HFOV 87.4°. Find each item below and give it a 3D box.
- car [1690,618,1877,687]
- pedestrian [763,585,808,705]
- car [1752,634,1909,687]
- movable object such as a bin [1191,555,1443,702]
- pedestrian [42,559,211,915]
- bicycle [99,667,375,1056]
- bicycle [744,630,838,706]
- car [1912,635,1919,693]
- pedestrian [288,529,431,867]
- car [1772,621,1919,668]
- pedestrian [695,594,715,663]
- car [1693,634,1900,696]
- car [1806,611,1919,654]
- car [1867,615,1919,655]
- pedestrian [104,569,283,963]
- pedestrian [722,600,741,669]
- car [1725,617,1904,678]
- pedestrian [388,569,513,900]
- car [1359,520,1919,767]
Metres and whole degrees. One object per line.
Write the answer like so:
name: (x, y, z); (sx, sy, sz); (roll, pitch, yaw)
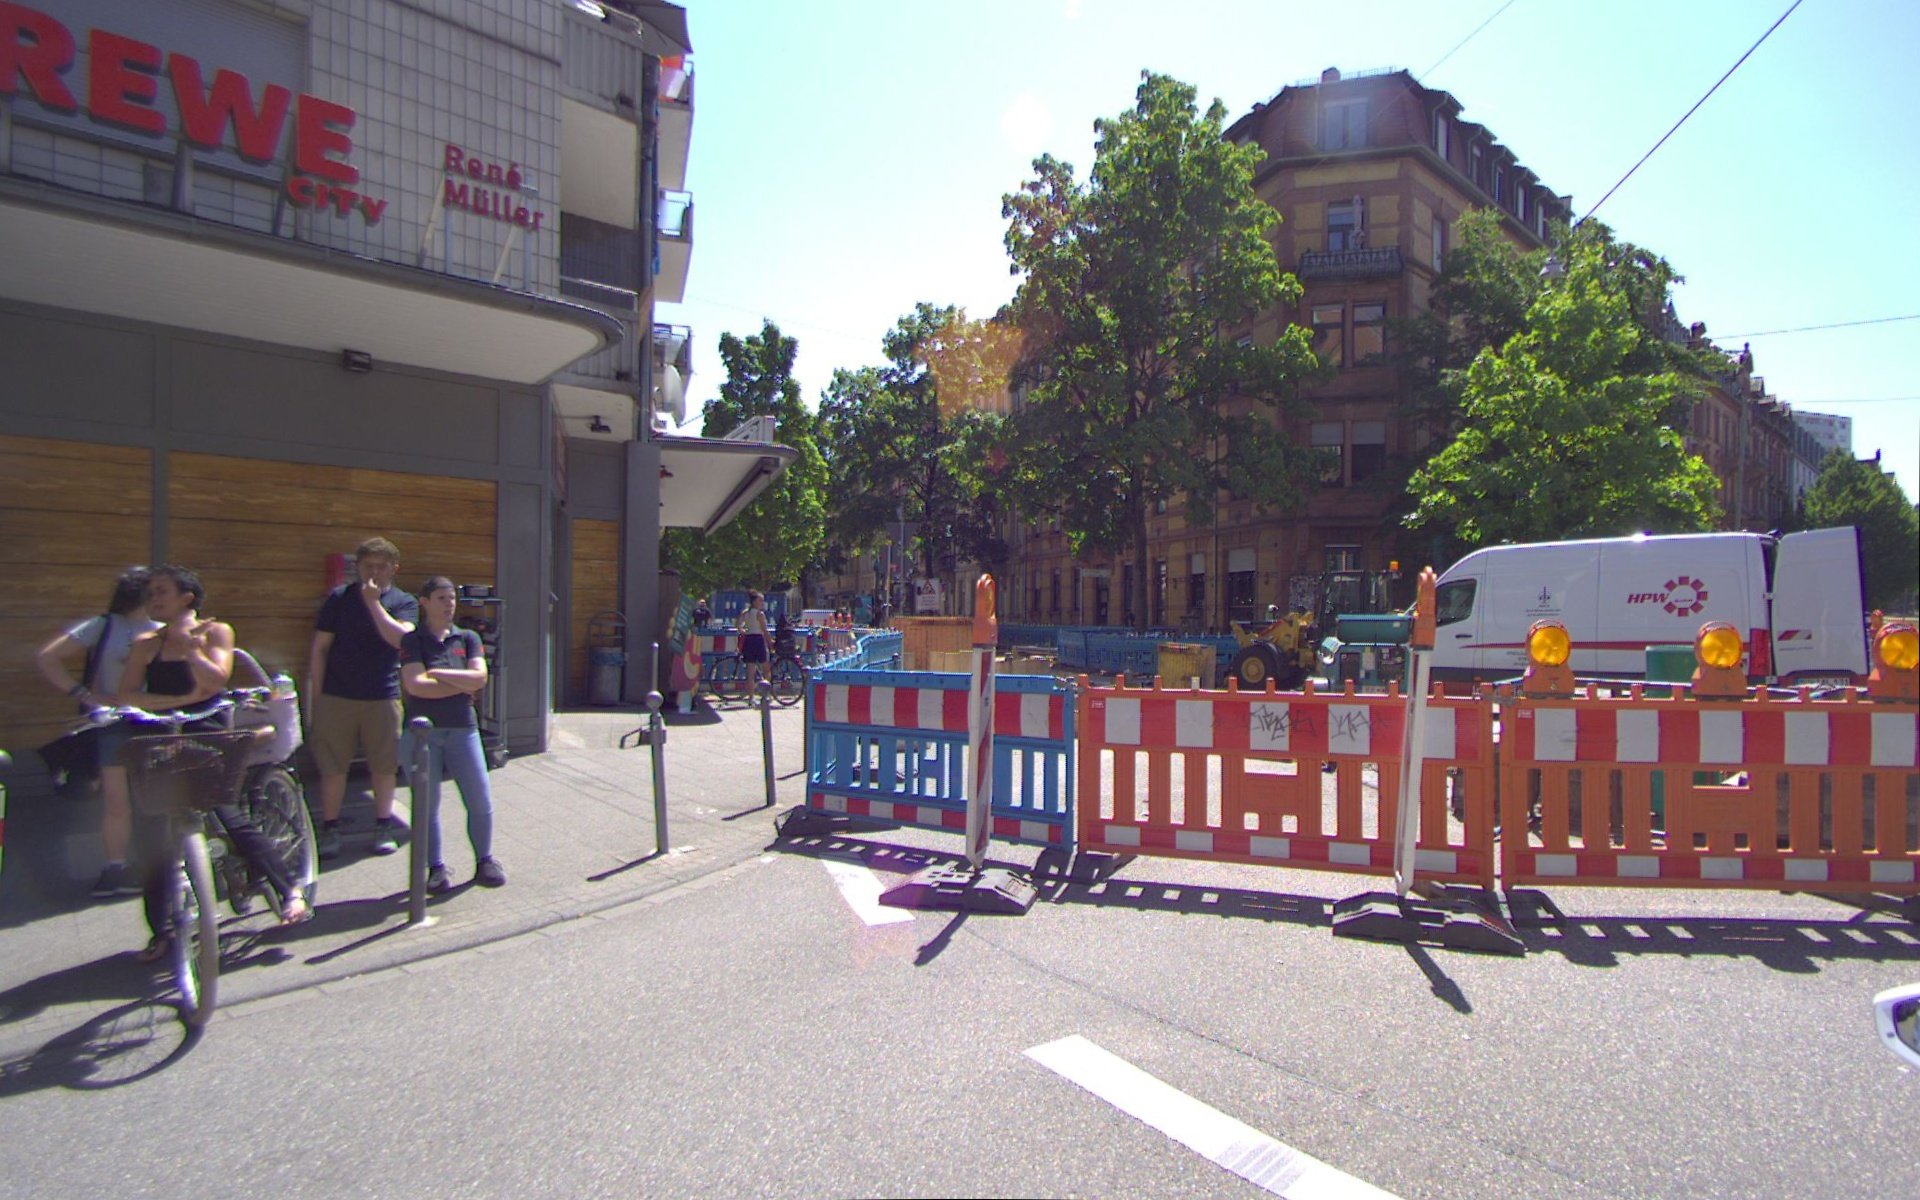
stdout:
car: (24.630, 1.529, 30.215); (3.921, 1.828, 1.769); (2, 0, 19)
pedestrian: (-2.563, 0.659, 14.779); (0.579, 1.738, 0.390); (1, -1, -3)
car: (28.702, 1.966, 33.256); (3.562, 1.477, 1.623); (2, 0, 25)
movable object such as a bin: (7.263, 0.540, 20.737); (4.496, 2.694, 1.943); (0, -1, 45)
pedestrian: (-4.203, 0.643, 5.070); (0.596, 1.654, 0.504); (1, -1, -44)
bicycle: (-2.908, 0.919, 4.217); (0.461, 1.134, 1.802); (1, 1, -20)
bicycle: (-2.553, 1.004, 15.099); (1.547, 1.086, 0.342); (0, -1, 32)
car: (26.043, 1.636, 26.006); (3.971, 1.463, 1.739); (2, -2, -42)
pedestrian: (-3.511, 0.540, 5.880); (0.596, 1.844, 0.504); (1, -1, -44)
car: (32.783, 1.615, 37.141); (3.843, 1.640, 1.867); (1, -1, 8)
pedestrian: (-7.592, 0.841, 29.933); (0.537, 2.040, 0.411); (1, -1, -17)
car: (23.099, 1.762, 27.922); (3.920, 1.431, 1.972); (2, 0, 16)
car: (44.859, 1.593, 49.289); (4.694, 2.020, 2.054); (1, -1, 19)
car: (54.430, 1.979, 56.621); (4.483, 2.216, 2.000); (1, -1, 21)
pedestrian: (-3.274, 0.666, 4.322); (0.452, 1.587, 0.495); (1, 1, -16)
pedestrian: (-6.857, 1.024, 30.098); (0.497, 2.040, 0.445); (1, -1, -17)
car: (26.983, 1.452, 31.887); (3.924, 1.680, 1.758); (2, 0, 25)
pedestrian: (-2.679, 0.673, 5.285); (0.472, 1.639, 0.386); (1, -1, -44)
car: (9.545, 0.435, 14.601); (2.361, 2.788, 6.564); (2, 0, -40)
